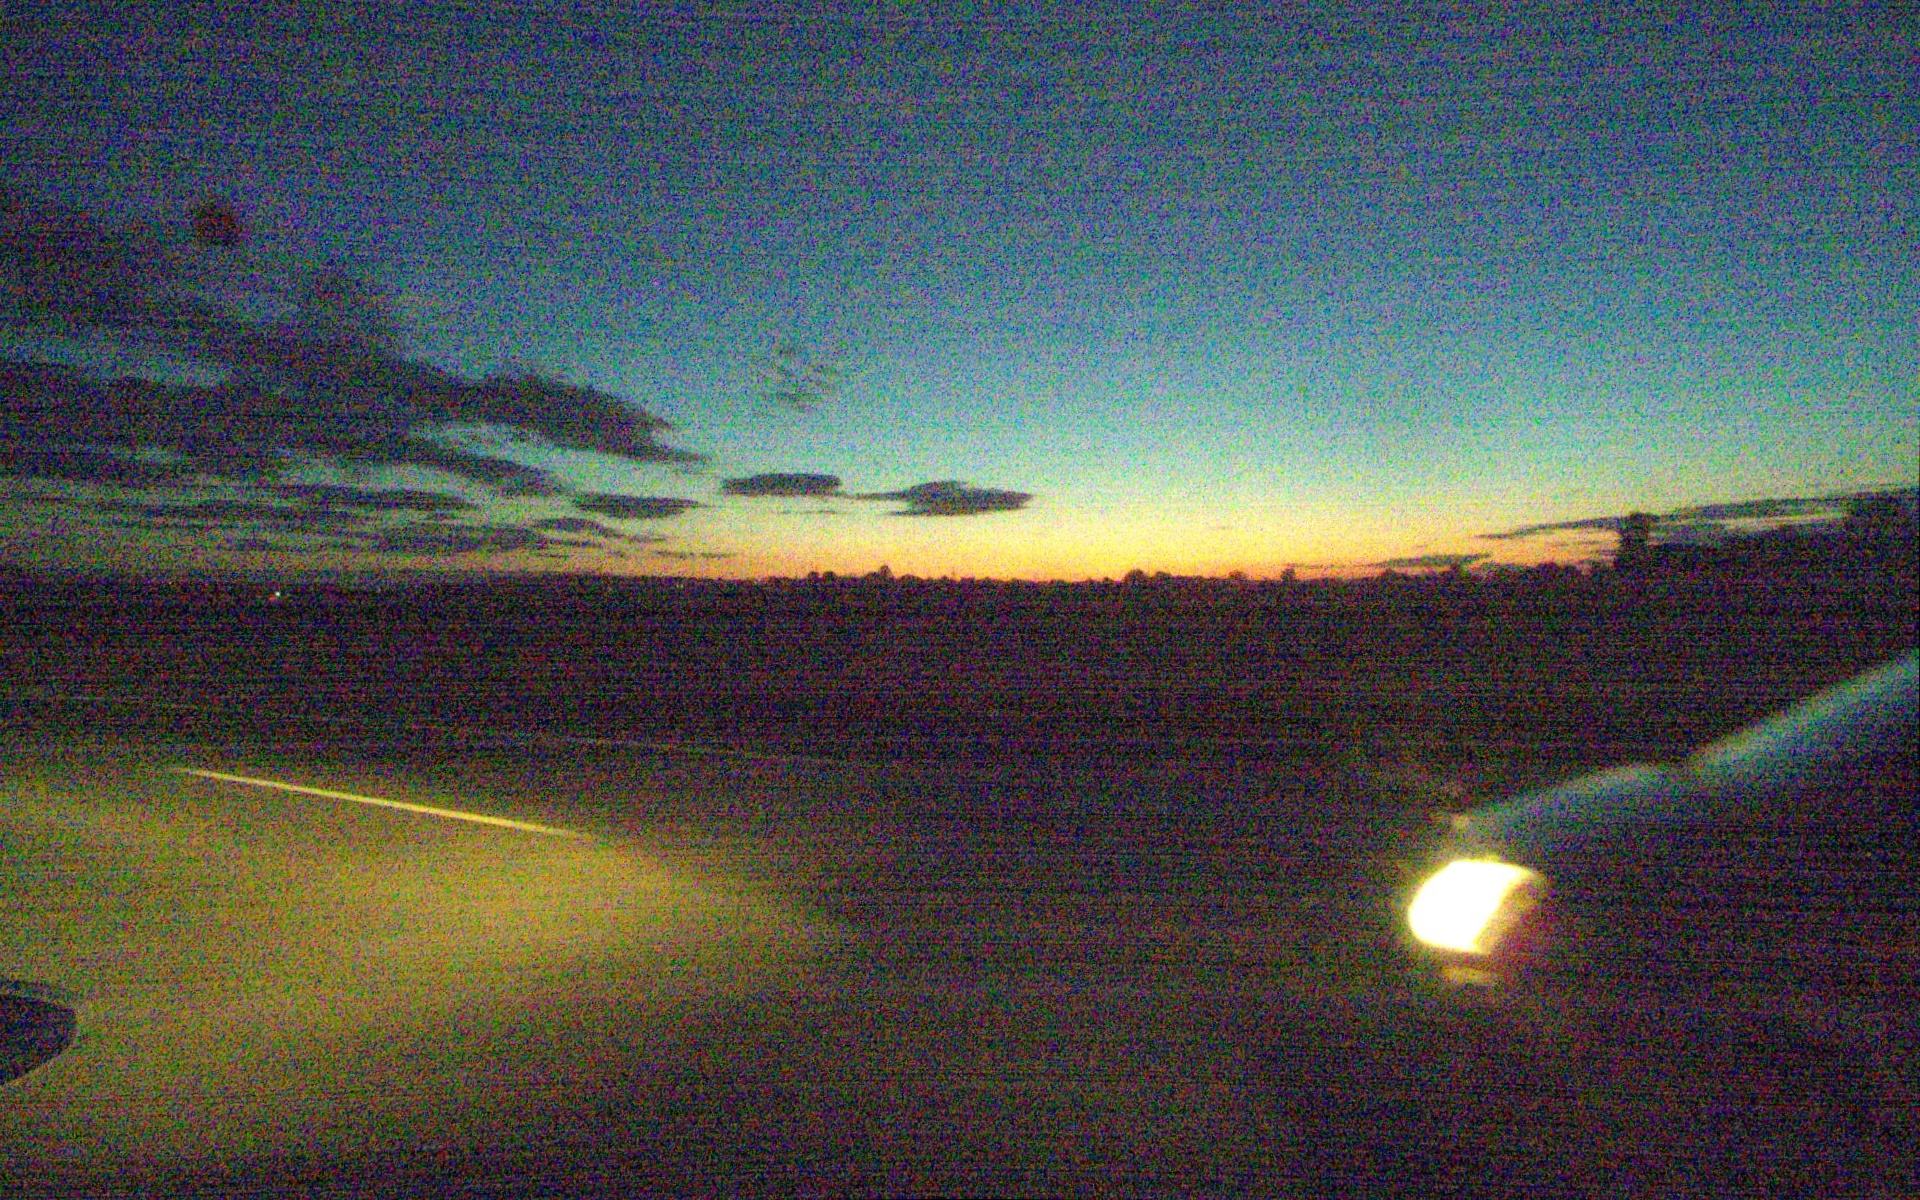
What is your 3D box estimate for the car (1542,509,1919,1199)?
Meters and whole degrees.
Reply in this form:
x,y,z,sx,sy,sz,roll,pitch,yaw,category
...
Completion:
x,y,z,sx,sy,sz,roll,pitch,yaw,category
3.703,0.605,1.898,4.446,1.618,1.642,-1,0,33,car
